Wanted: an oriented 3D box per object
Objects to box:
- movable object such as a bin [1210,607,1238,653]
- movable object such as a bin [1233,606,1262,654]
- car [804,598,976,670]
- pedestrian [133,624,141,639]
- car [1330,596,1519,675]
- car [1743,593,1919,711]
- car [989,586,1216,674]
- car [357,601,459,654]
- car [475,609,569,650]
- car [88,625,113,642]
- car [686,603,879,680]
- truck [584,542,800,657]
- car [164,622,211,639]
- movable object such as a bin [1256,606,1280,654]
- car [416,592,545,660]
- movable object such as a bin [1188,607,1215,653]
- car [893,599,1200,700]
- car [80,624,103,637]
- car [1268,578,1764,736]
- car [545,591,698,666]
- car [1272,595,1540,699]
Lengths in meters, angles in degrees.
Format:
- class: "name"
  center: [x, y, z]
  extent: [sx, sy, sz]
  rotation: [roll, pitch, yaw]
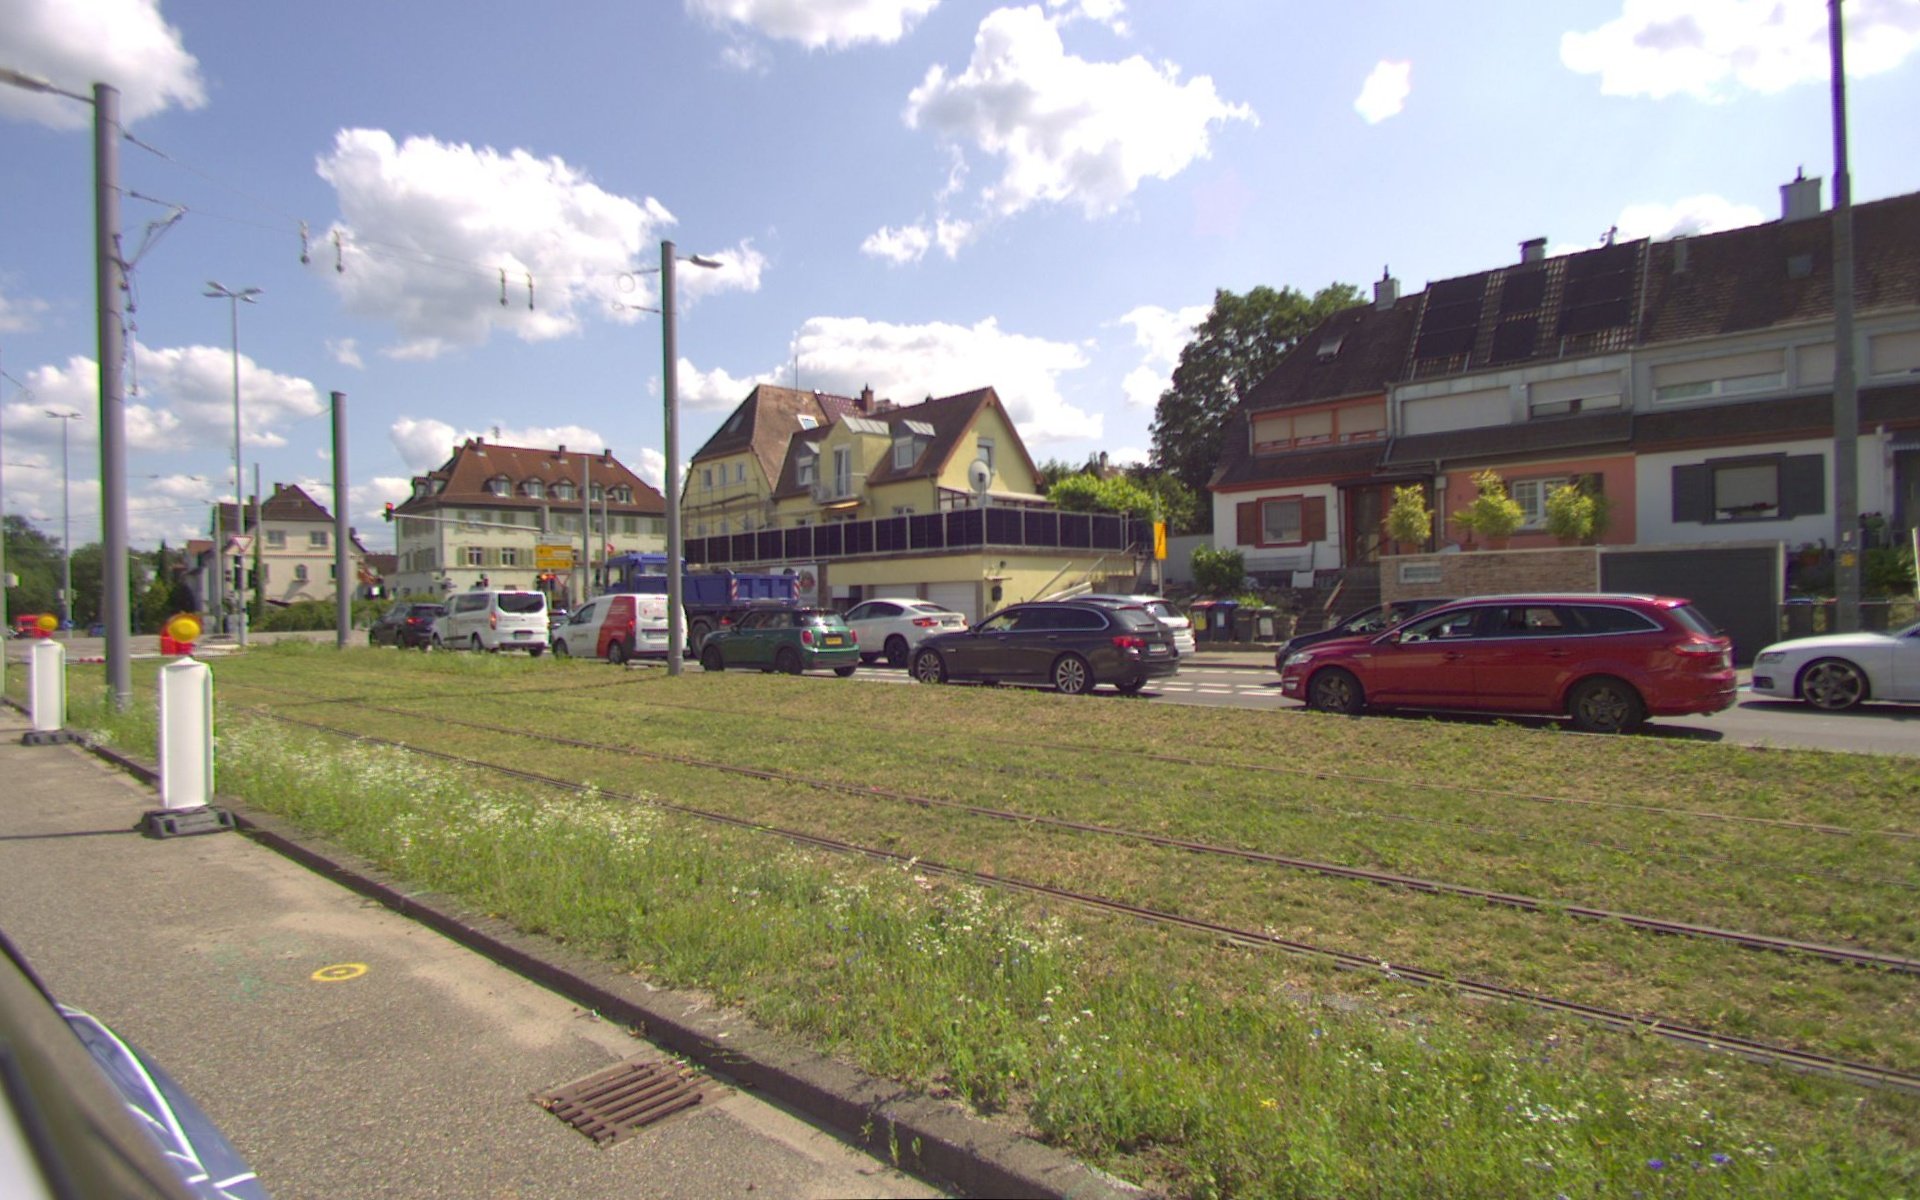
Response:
- class: "movable object such as a bin"
  center: [6.892, 0.780, 26.445]
  extent: [0.573, 1.205, 0.441]
  rotation: [-1, -1, 37]
- class: "movable object such as a bin"
  center: [7.407, 0.764, 26.065]
  extent: [0.573, 1.210, 0.441]
  rotation: [-1, -1, 37]
- class: "car"
  center: [-1.854, 0.827, 25.773]
  extent: [4.437, 1.672, 1.823]
  rotation: [-1, 0, 43]
- class: "pedestrian"
  center: [-88.496, 3.389, 108.840]
  extent: [0.622, 1.547, 0.619]
  rotation: [-1, -1, -40]
- class: "car"
  center: [9.160, 0.668, 20.056]
  extent: [3.086, 1.430, 1.550]
  rotation: [-1, 0, 42]
- class: "car"
  center: [12.279, 0.586, 11.836]
  extent: [4.778, 1.353, 1.823]
  rotation: [-1, 0, 43]
- class: "car"
  center: [2.950, 0.604, 21.533]
  extent: [4.503, 1.681, 1.824]
  rotation: [-1, 0, 41]
- class: "car"
  center: [-19.511, 0.968, 35.685]
  extent: [4.440, 1.734, 1.767]
  rotation: [-2, -1, 42]
- class: "car"
  center: [-17.224, 1.129, 39.708]
  extent: [4.334, 1.498, 1.808]
  rotation: [-1, 0, 43]
- class: "car"
  center: [-79.623, 3.133, 93.782]
  extent: [1.684, 1.473, 3.158]
  rotation: [-1, -1, -42]
- class: "car"
  center: [-3.776, 0.821, 21.227]
  extent: [3.997, 1.429, 1.895]
  rotation: [-1, 0, 41]
- class: "truck"
  center: [-8.584, 0.029, 31.881]
  extent: [7.577, 3.212, 2.740]
  rotation: [-1, 0, 41]
- class: "car"
  center: [-68.377, 2.688, 89.663]
  extent: [1.733, 1.397, 4.112]
  rotation: [-1, -1, -12]
- class: "movable object such as a bin"
  center: [7.843, 0.758, 25.739]
  extent: [0.441, 1.191, 0.441]
  rotation: [-1, -1, 36]
- class: "car"
  center: [-14.852, 0.791, 31.236]
  extent: [4.745, 1.936, 1.796]
  rotation: [-1, 0, 40]
- class: "movable object such as a bin"
  center: [6.397, 0.792, 26.818]
  extent: [0.573, 1.193, 0.441]
  rotation: [-1, -1, 37]
- class: "car"
  center: [1.291, 0.732, 16.694]
  extent: [4.913, 1.424, 1.824]
  rotation: [-1, 0, 41]
- class: "car"
  center: [-91.554, 3.244, 106.666]
  extent: [1.683, 1.306, 3.925]
  rotation: [-1, -1, -38]
- class: "car"
  center: [6.338, 0.570, 11.963]
  extent: [4.855, 1.505, 1.824]
  rotation: [-1, 0, 42]
- class: "car"
  center: [-8.781, 0.704, 26.091]
  extent: [4.402, 1.795, 1.715]
  rotation: [-1, -1, 40]
- class: "car"
  center: [7.264, 0.704, 16.647]
  extent: [3.654, 1.505, 1.824]
  rotation: [-1, 0, 42]
